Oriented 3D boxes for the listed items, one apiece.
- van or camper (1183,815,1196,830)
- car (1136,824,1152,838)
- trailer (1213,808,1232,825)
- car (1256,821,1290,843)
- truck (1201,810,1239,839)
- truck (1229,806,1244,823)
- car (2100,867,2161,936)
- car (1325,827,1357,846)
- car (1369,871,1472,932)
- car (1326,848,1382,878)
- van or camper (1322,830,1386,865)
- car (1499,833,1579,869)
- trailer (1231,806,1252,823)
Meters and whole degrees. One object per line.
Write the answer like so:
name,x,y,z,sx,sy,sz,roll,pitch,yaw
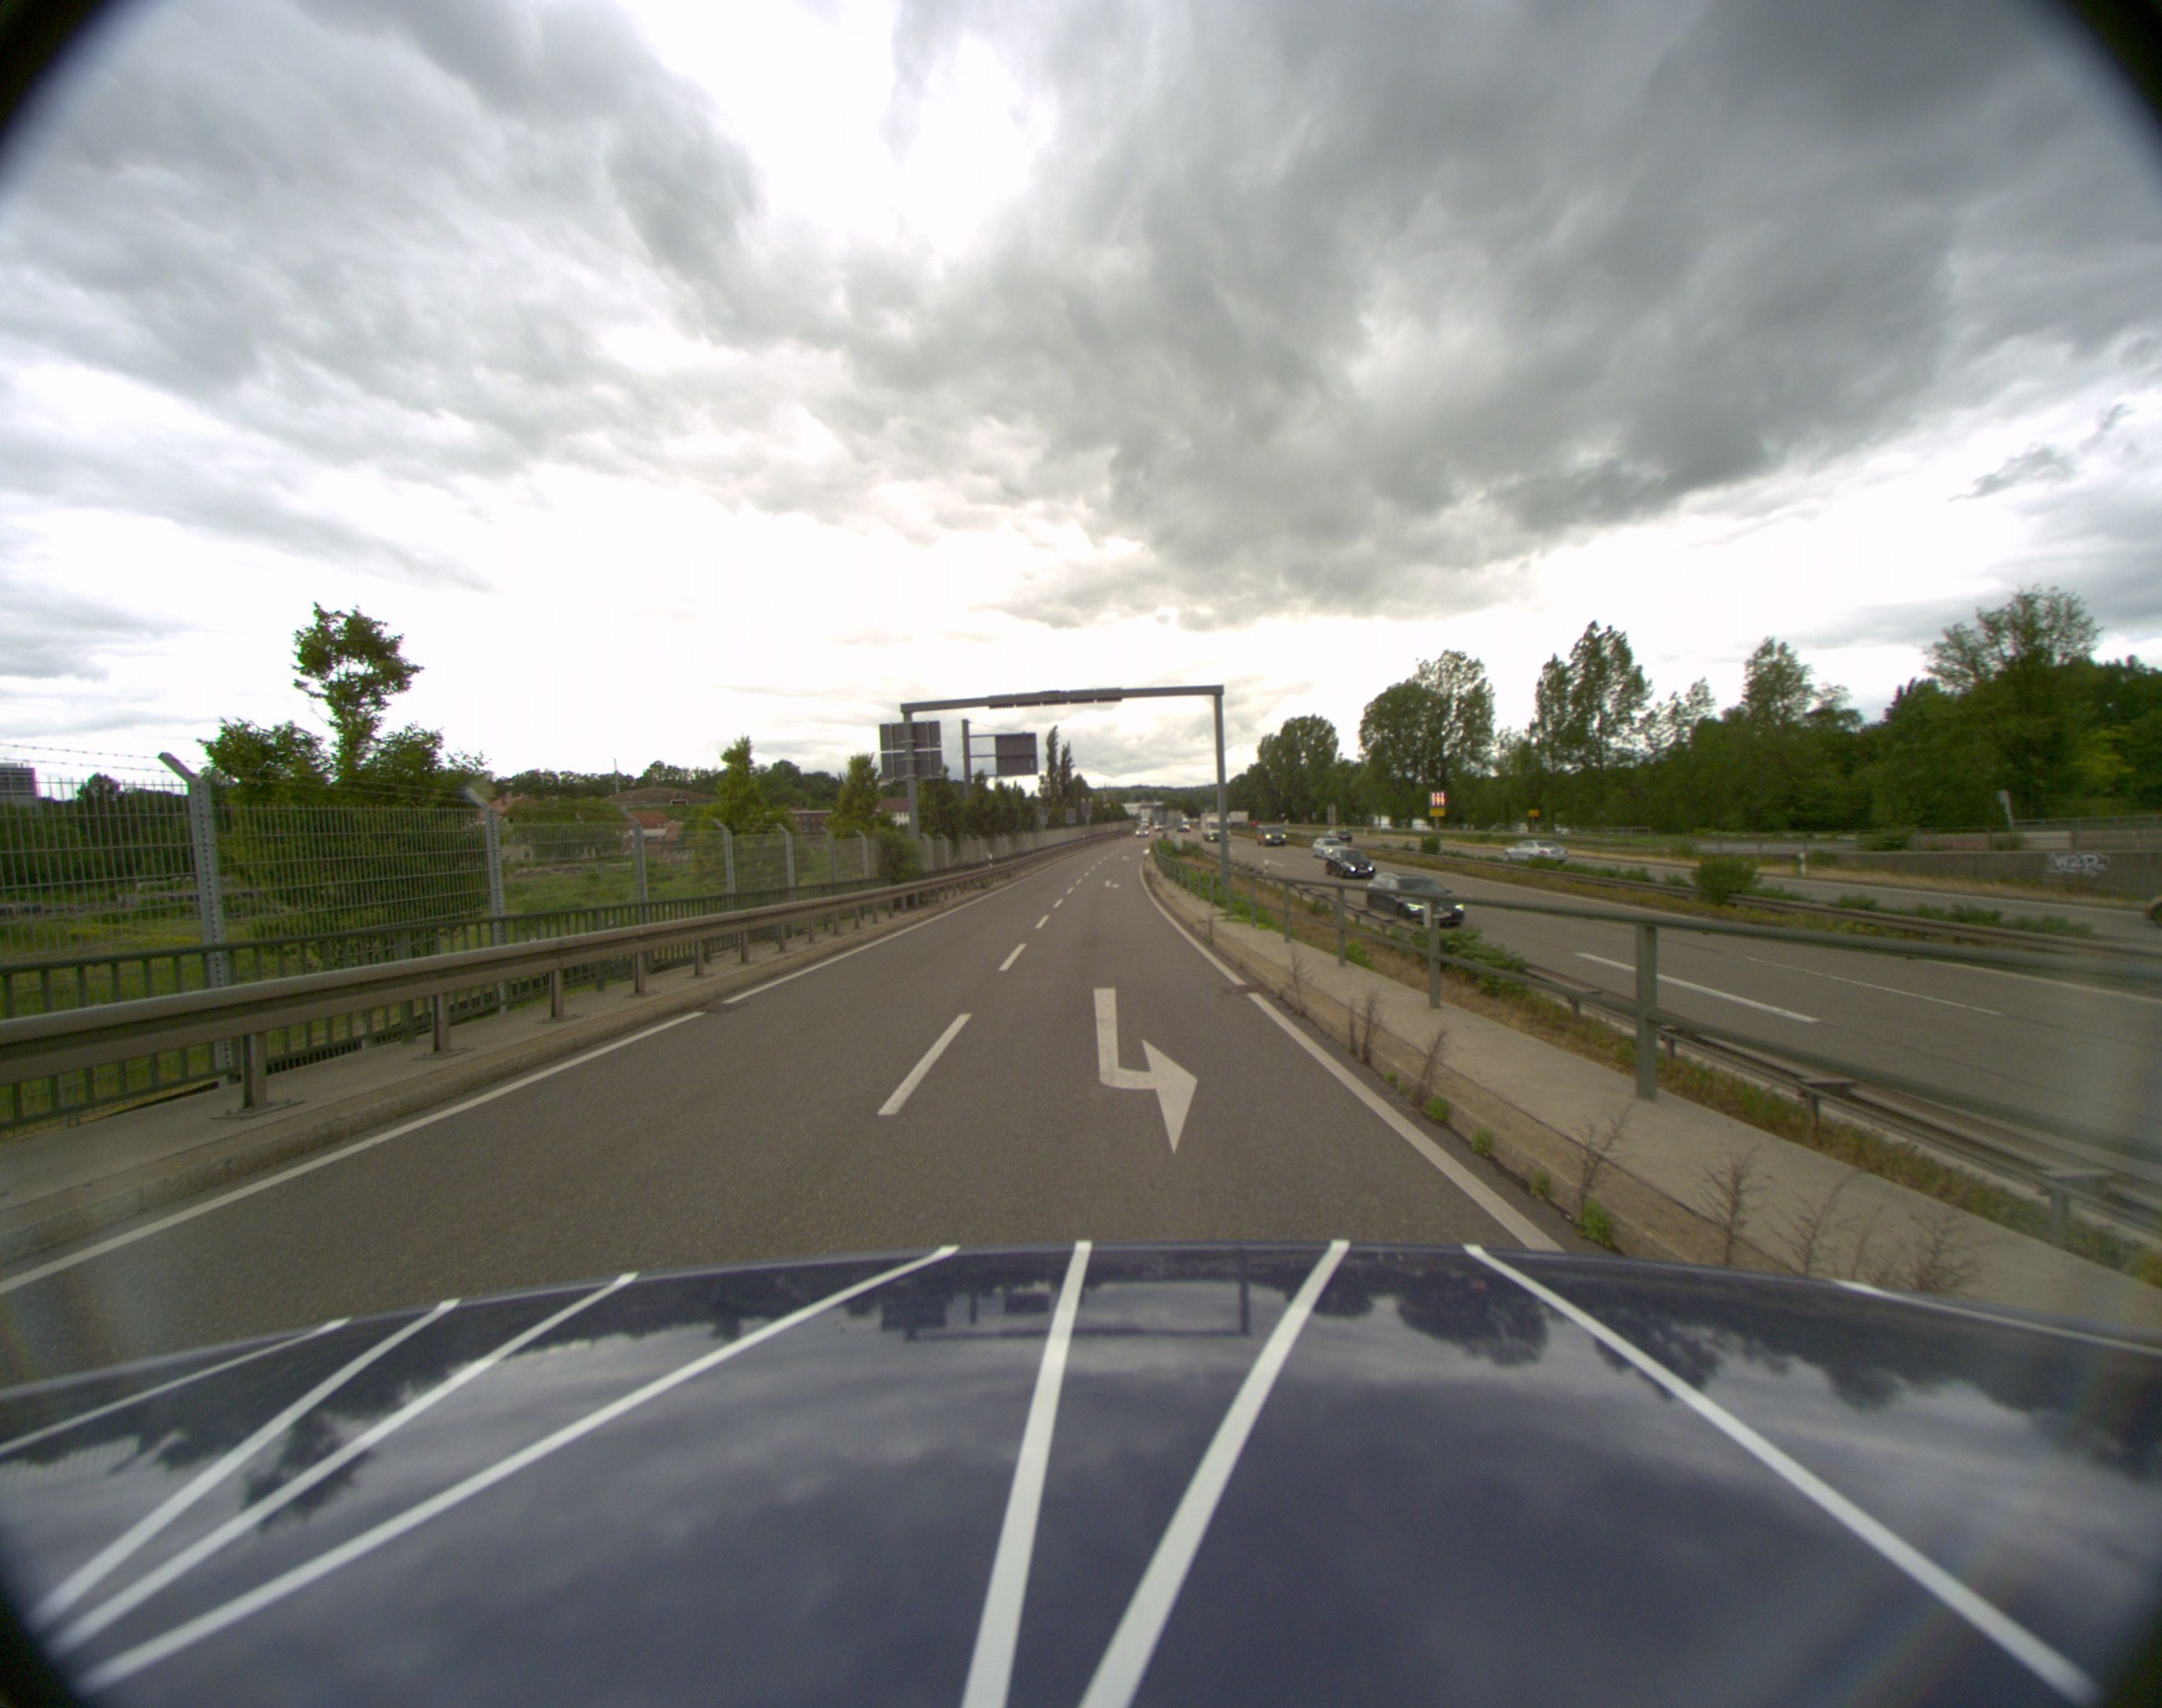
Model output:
van or camper,20.272,-5.907,141.802,2.208,2.590,6.329,-2,4,10
car,9.250,-3.393,111.294,1.997,2.002,4.002,-1,2,9
trailer,42.670,-11.332,229.384,3.471,4.648,14.777,-2,3,3
car,18.986,-2.212,75.453,2.099,2.003,5.335,-1,4,0
truck,16.074,-3.466,88.429,3.039,3.142,7.564,-1,4,1
truck,39.128,-9.993,191.507,2.796,3.916,5.310,-3,3,3
car,29.454,1.356,18.827,1.998,1.710,4.700,-1,3,0
car,25.352,-1.747,74.187,1.998,1.718,3.999,-1,3,4
car,10.642,1.413,24.161,1.939,1.492,4.305,0,2,9
car,14.208,0.437,39.766,1.728,1.320,3.646,-1,3,2
van or camper,17.713,-0.521,49.635,1.887,1.859,6.344,-3,4,0
car,27.479,-0.226,45.787,1.998,1.684,4.698,-1,6,1
trailer,38.707,-9.560,184.092,2.796,3.928,13.508,-3,3,3
